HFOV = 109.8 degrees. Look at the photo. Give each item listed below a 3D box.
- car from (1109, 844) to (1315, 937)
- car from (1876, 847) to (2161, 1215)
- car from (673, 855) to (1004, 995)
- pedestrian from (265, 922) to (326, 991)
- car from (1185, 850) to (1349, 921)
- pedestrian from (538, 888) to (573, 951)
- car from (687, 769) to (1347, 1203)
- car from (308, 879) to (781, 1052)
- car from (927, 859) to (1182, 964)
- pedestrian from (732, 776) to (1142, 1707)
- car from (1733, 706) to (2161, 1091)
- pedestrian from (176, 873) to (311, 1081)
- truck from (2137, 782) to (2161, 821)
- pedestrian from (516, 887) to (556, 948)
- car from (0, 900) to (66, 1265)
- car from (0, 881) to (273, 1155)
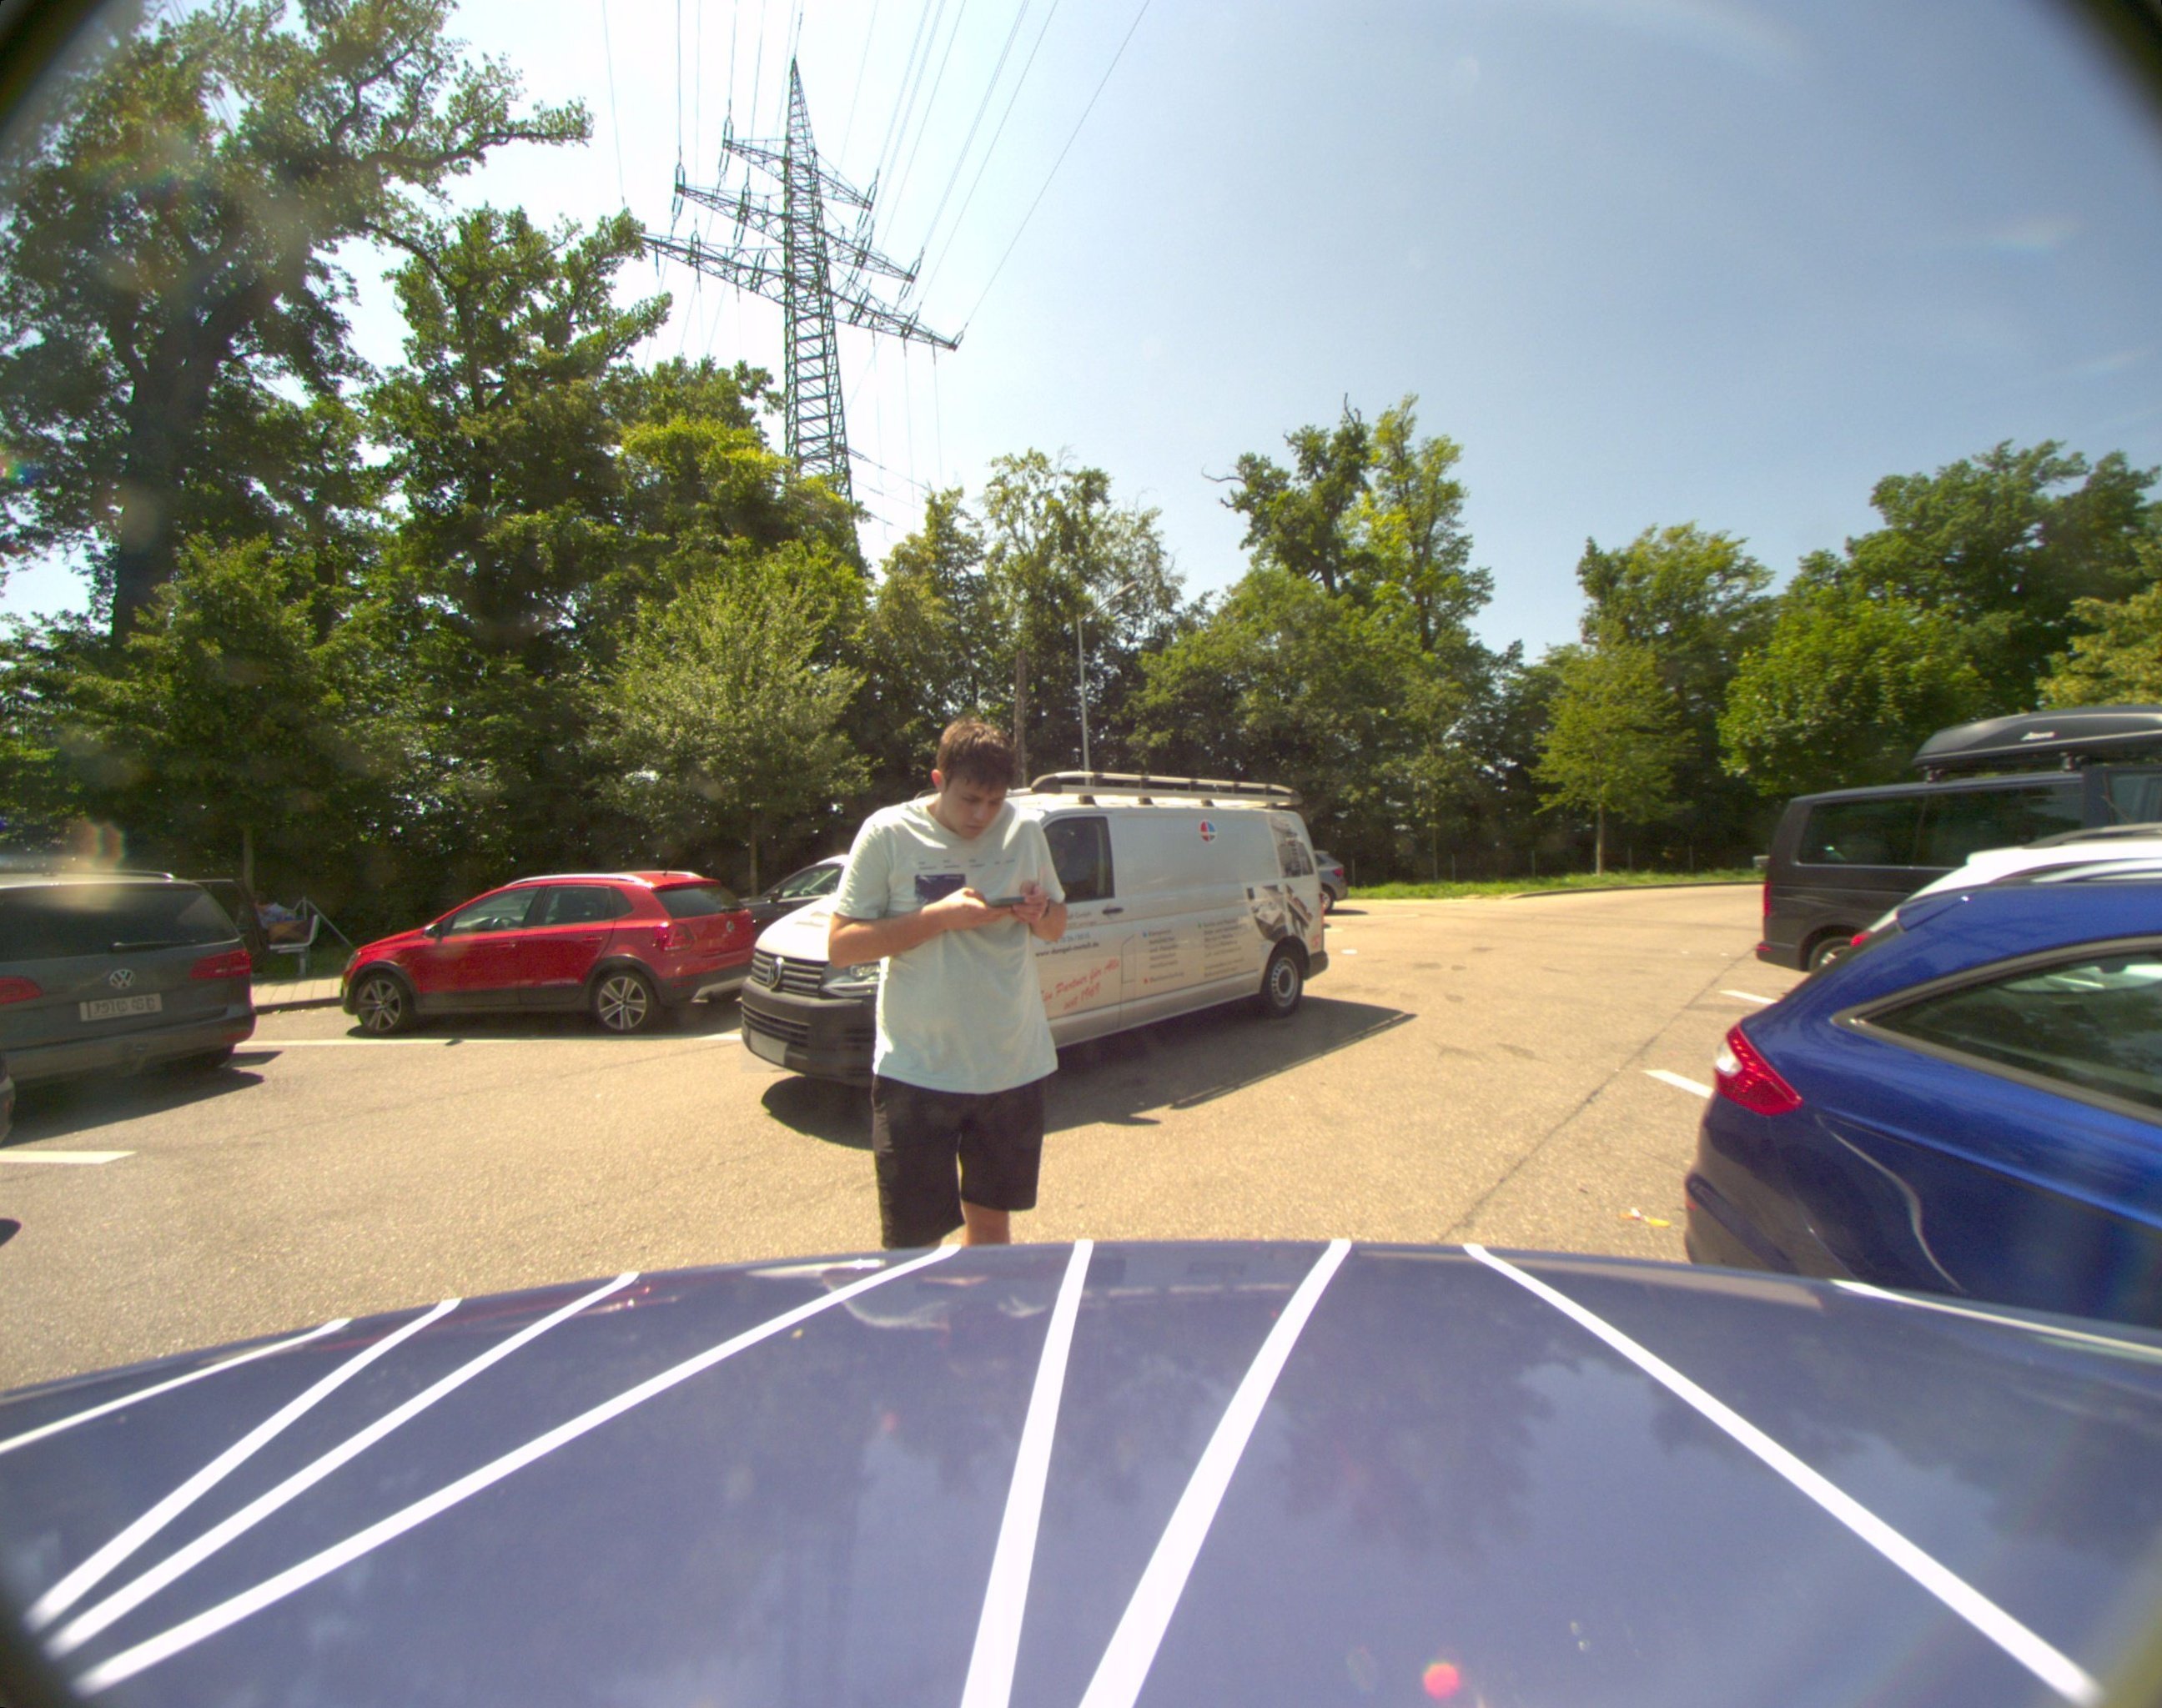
[{"bbox_3d":[2.561,0.705,15.440,3.850,1.678,1.755,-2,0,4],"label":"car"},{"bbox_3d":[4.711,0.656,2.297,1.344,1.352,3.114,-2,0,1],"label":"car"},{"bbox_3d":[-3.103,0.888,10.277,3.866,1.607,1.709,-2,0,0],"label":"car"},{"bbox_3d":[-10.824,1.397,10.483,0.503,0.873,0.512,-2,0,-39],"label":"pedestrian"},{"bbox_3d":[4.325,0.727,18.136,3.585,1.493,1.707,-2,1,8],"label":"car"},{"bbox_3d":[-10.107,1.255,14.605,0.366,1.186,0.356,-2,1,21],"label":"pedestrian"},{"bbox_3d":[0.031,0.603,6.231,5.445,2.092,1.839,-2,1,-45],"label":"car"},{"bbox_3d":[-5.253,1.066,7.698,3.745,1.458,1.621,-2,0,7],"label":"car"},{"bbox_3d":[-0.340,0.872,12.218,3.773,1.445,1.848,-2,0,4],"label":"car"},{"bbox_3d":[-0.362,0.765,1.851,0.741,1.818,0.613,-2,0,-34],"label":"pedestrian"},{"bbox_3d":[7.295,0.254,5.255,1.788,2.304,4.084,-2,0,-5],"label":"car"},{"bbox_3d":[-7.328,1.037,6.661,0.481,1.712,0.589,-2,1,22],"label":"pedestrian"},{"bbox_3d":[40.208,-1.967,27.018,1.168,1.367,2.882,-2,-1,-19],"label":"truck"},{"bbox_3d":[-11.006,1.282,15.355,0.413,1.186,0.443,-2,1,12],"label":"pedestrian"},{"bbox_3d":[-6.476,1.062,1.985,4.172,1.607,1.835,-2,0,-25],"label":"car"},{"bbox_3d":[-8.432,1.096,5.461,3.903,1.607,1.705,-2,1,11],"label":"car"}]
